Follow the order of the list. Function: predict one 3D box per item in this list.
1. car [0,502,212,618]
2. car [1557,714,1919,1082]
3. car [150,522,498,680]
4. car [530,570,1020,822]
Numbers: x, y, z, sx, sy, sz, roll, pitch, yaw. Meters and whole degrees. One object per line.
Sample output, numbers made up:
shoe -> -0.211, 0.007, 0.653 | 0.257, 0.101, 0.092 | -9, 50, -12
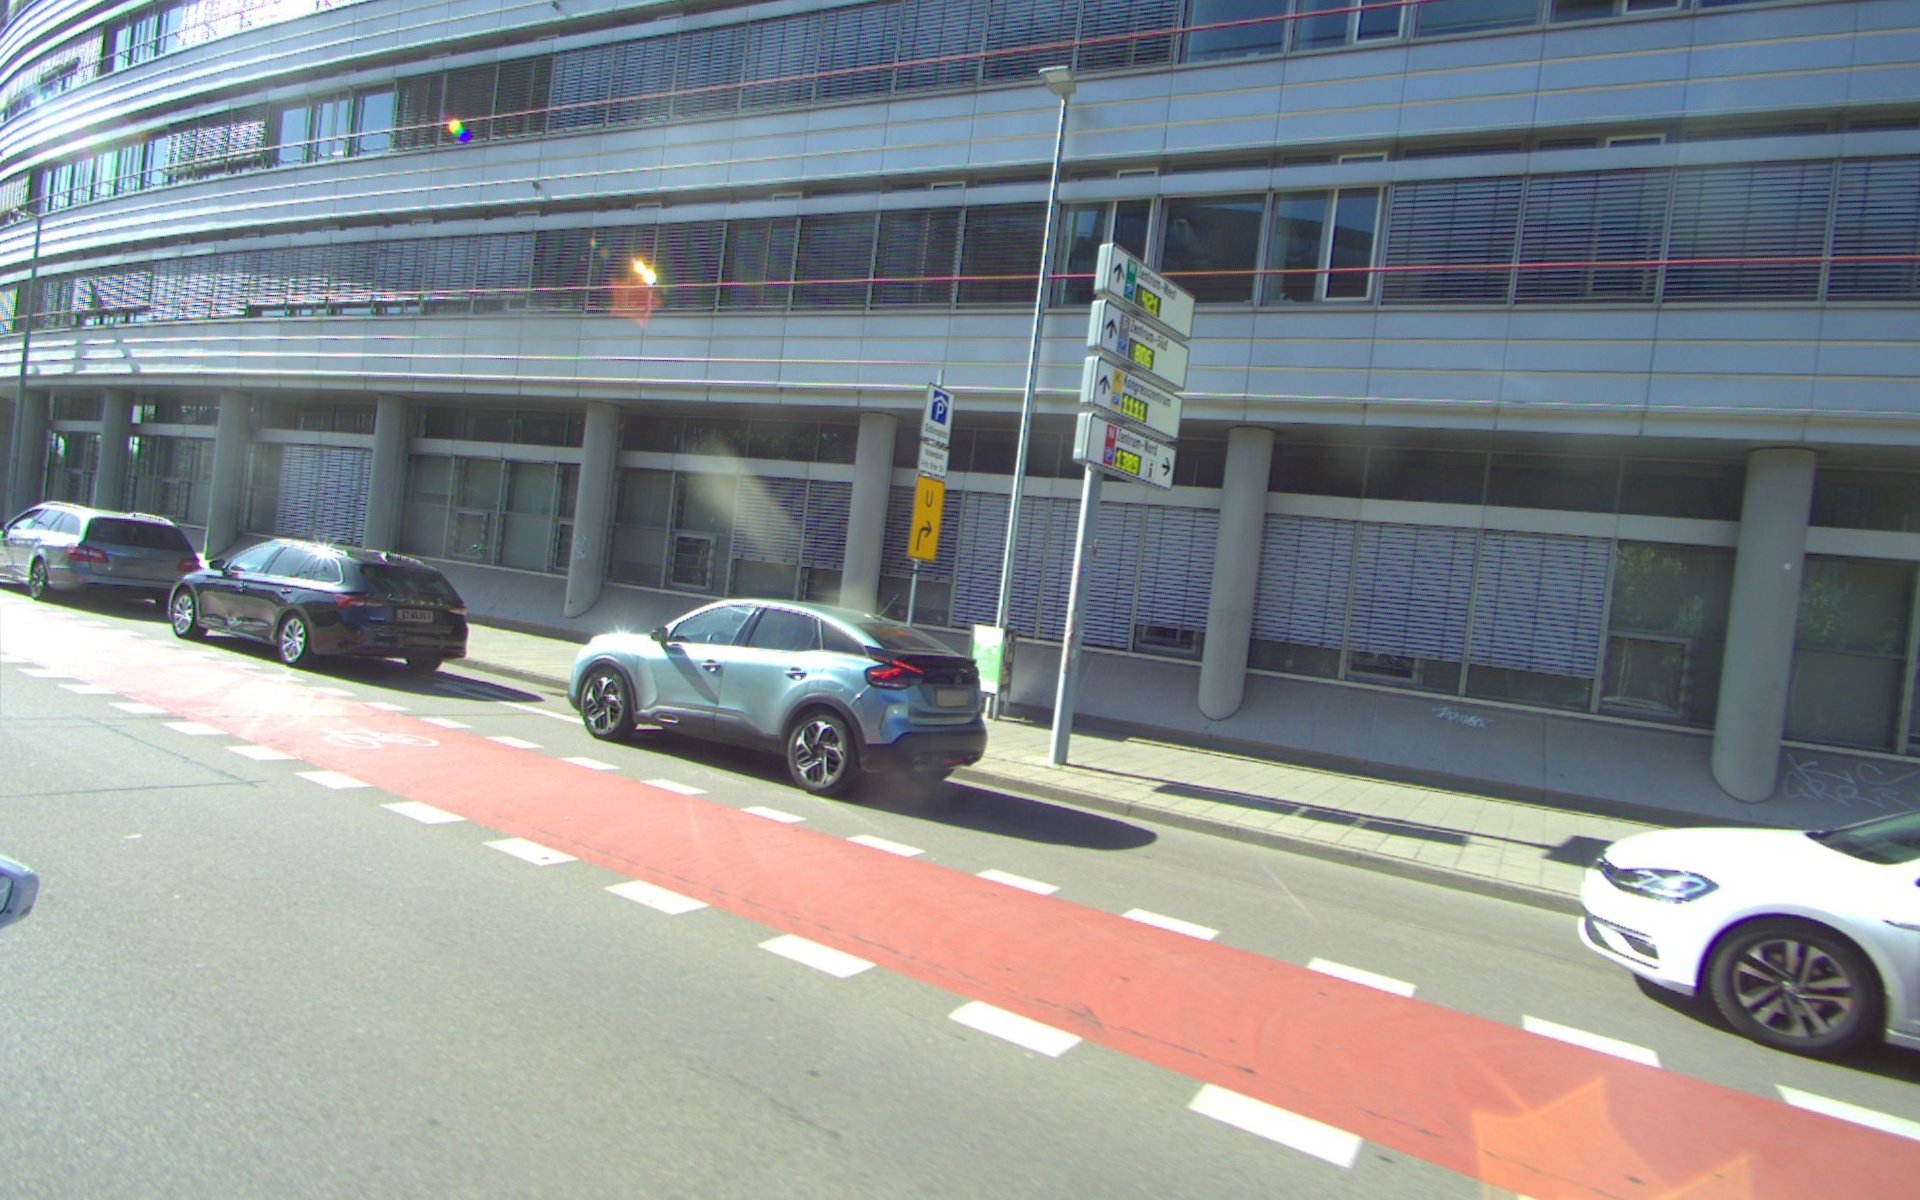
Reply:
car -> -14.486, -0.723, 16.552 | 4.707, 1.413, 1.724 | 7, 0, 31
car -> 5.422, 1.607, 4.839 | 4.223, 1.419, 1.776 | 7, -2, 33
car -> -8.217, -0.019, 12.891 | 4.558, 1.440, 1.724 | 7, 0, 29
car -> -1.824, 0.754, 9.425 | 4.325, 1.543, 1.724 | 7, 0, 30
